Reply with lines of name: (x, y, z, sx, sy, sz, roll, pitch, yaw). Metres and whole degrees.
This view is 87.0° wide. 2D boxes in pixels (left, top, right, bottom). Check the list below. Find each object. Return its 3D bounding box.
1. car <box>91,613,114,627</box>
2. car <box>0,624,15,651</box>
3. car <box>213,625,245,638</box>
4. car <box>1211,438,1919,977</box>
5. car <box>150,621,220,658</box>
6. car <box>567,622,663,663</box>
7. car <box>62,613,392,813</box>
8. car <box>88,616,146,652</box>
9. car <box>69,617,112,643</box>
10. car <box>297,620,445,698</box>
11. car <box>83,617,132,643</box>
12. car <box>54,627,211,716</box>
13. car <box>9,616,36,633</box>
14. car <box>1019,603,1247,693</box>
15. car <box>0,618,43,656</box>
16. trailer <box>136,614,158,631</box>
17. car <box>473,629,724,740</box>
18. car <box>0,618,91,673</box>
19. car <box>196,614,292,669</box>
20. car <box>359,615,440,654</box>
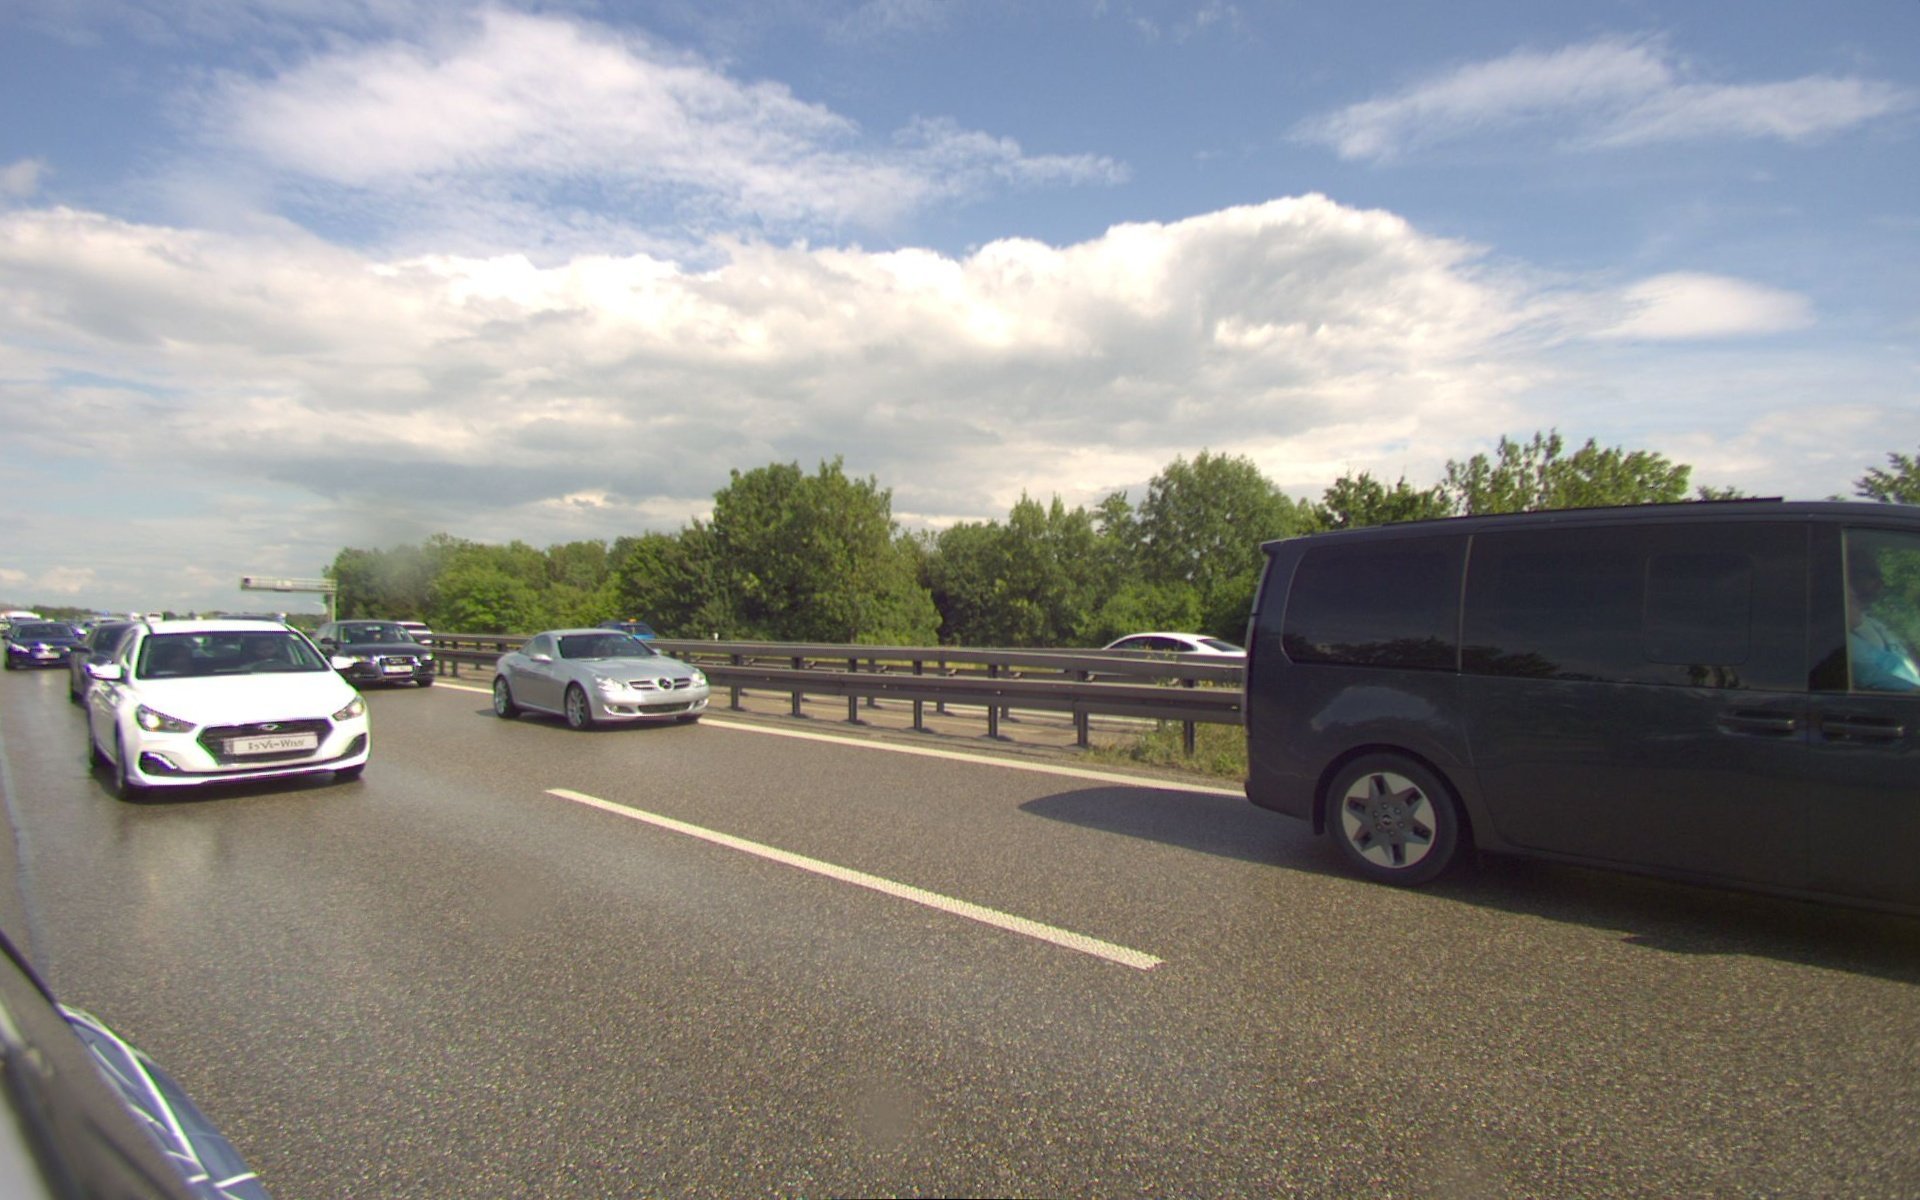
car: (-109.981, 2.544, 129.803, 1.971, 1.792, 4.463, 0, -1, -45)
car: (-59.097, 2.281, 61.693, 4.002, 1.490, 1.971, 0, 1, 44)
car: (-87.431, 3.701, 121.055, 5.037, 1.498, 2.094, -1, -1, 43)
car: (4.036, 0.416, 4.784, 5.271, 2.029, 1.971, -1, -1, 45)
car: (-32.251, 1.614, 42.072, 4.002, 1.389, 1.747, 0, -1, 44)
car: (-12.547, 1.509, 36.736, 3.878, 1.390, 1.737, -1, -2, 44)
car: (-7.200, 0.878, 9.737, 4.550, 1.466, 1.860, -1, -1, 45)
car: (-45.392, 1.781, 54.467, 4.002, 1.762, 1.971, 0, 1, 44)
car: (-62.384, 2.095, 72.602, 4.002, 1.710, 1.971, 0, 1, 44)
car: (-12.488, 1.158, 21.352, 1.746, 1.436, 4.141, 0, 0, -44)
car: (-54.083, 1.890, 64.171, 4.002, 1.490, 1.971, 0, 1, 44)
car: (-14.671, 1.167, 17.855, 4.289, 1.348, 1.705, -1, -1, 45)
car: (-103.729, 2.709, 112.004, 4.002, 1.710, 1.971, 0, 1, 44)
car: (3.584, 0.959, 21.509, 4.462, 1.700, 1.971, -1, -2, 44)
car: (-40.750, 1.557, 43.306, 4.002, 1.490, 1.971, 0, 1, 44)
trailer: (-165.358, 4.509, 205.811, 2.698, 3.407, 9.569, 1, -1, -44)
car: (-5.120, 1.058, 14.049, 4.065, 1.288, 1.705, -1, -1, 45)
car: (-28.425, 1.348, 31.319, 4.002, 1.497, 1.971, 0, 1, 44)
car: (-22.690, 1.266, 32.001, 1.848, 1.618, 4.232, 0, -1, -44)
car: (-24.932, 1.492, 44.945, 3.999, 1.636, 1.972, -1, -1, 42)
